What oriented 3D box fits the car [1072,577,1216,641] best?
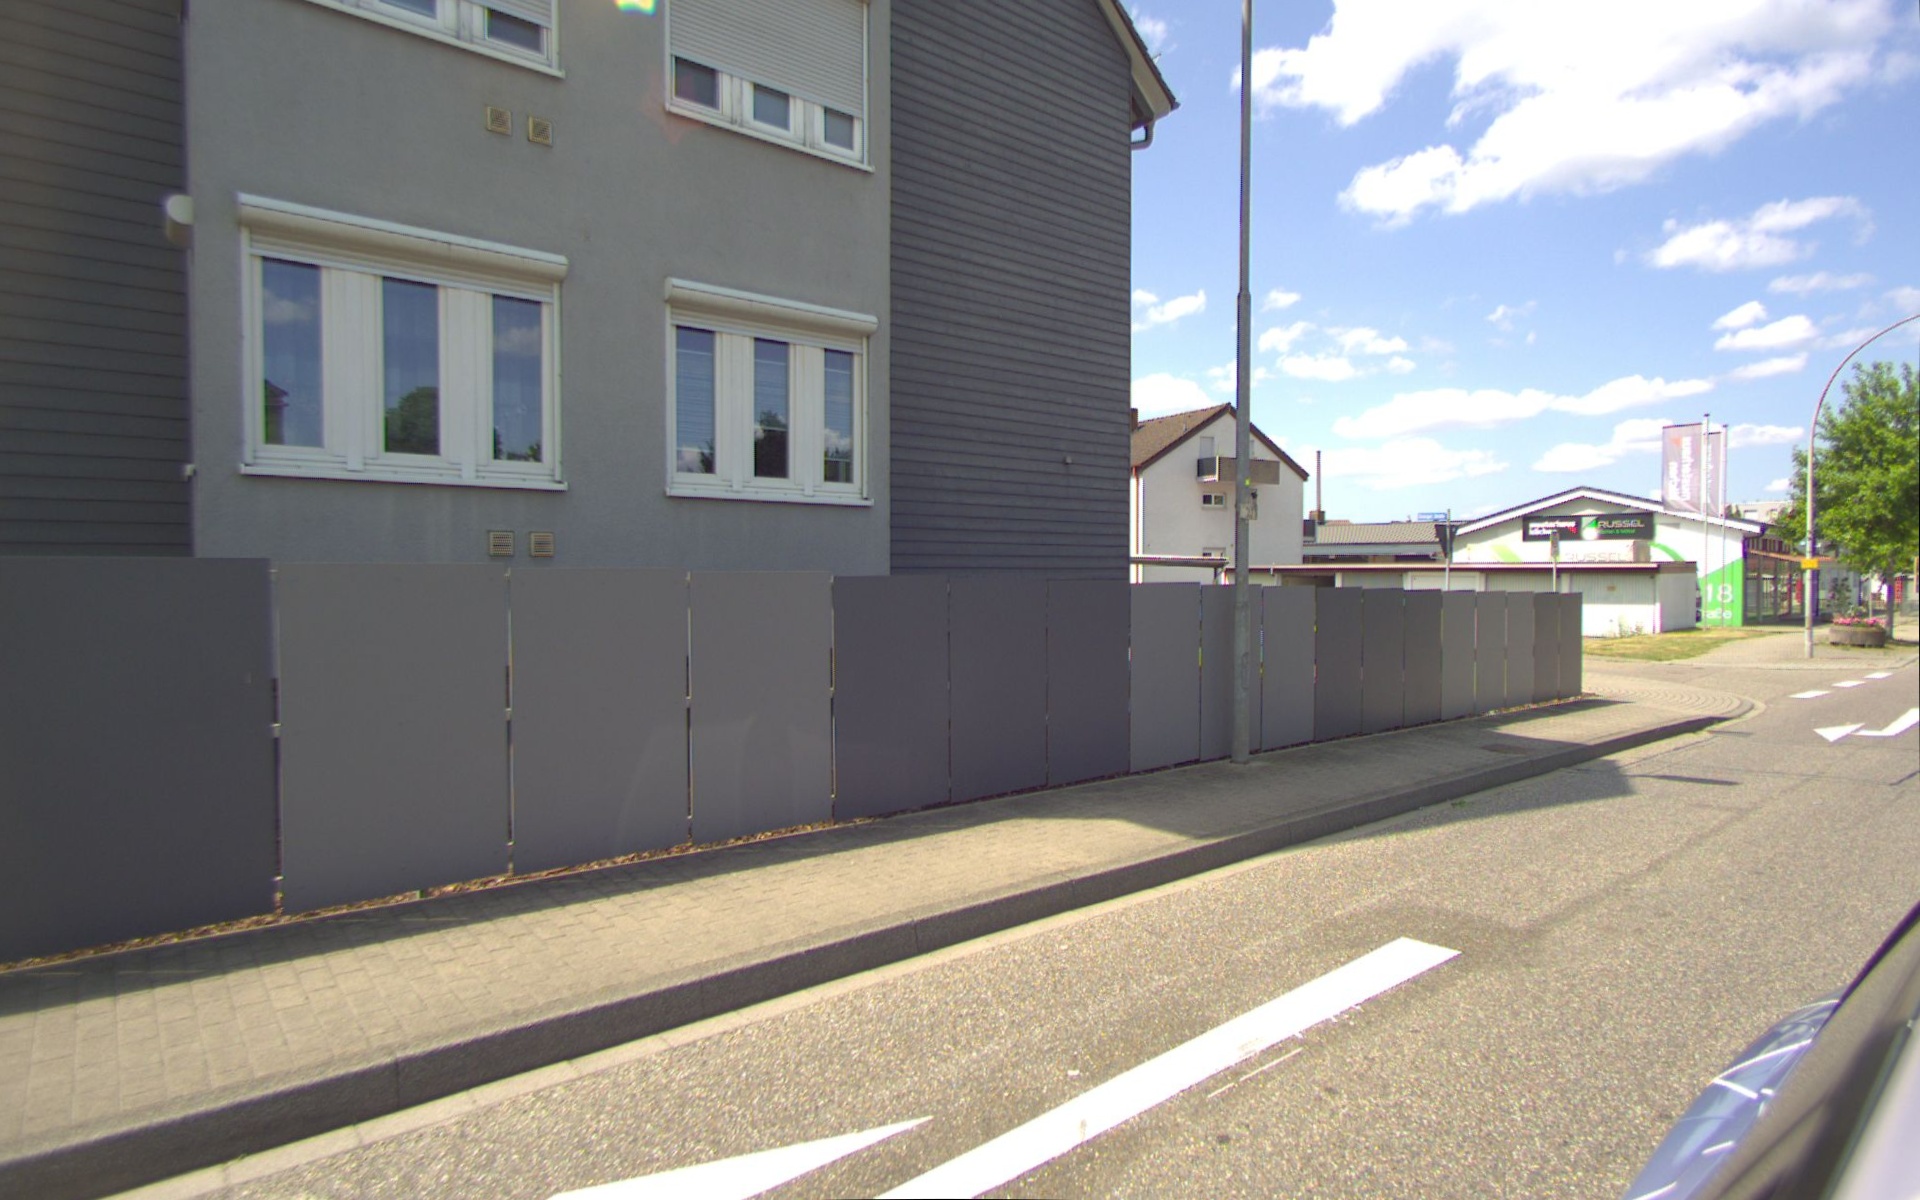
[{"bbox_3d":[5.281,0.270,28.786,4.139,1.669,1.741,2,0,-40],"label":"car"}]

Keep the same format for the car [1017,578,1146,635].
[{"bbox_3d":[3.736,0.214,30.730,3.784,1.607,1.741,2,0,-40],"label":"car"}]

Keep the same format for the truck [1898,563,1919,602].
[{"bbox_3d":[72.569,-1.304,76.179,2.571,2.795,6.240,3,3,41],"label":"truck"}]

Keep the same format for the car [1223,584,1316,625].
[{"bbox_3d":[12.282,0.145,40.038,4.060,1.522,1.678,-1,1,-41],"label":"car"}]

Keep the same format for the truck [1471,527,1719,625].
[{"bbox_3d":[25.595,-0.964,41.206,2.633,3.617,8.180,-2,2,-42],"label":"truck"}]
